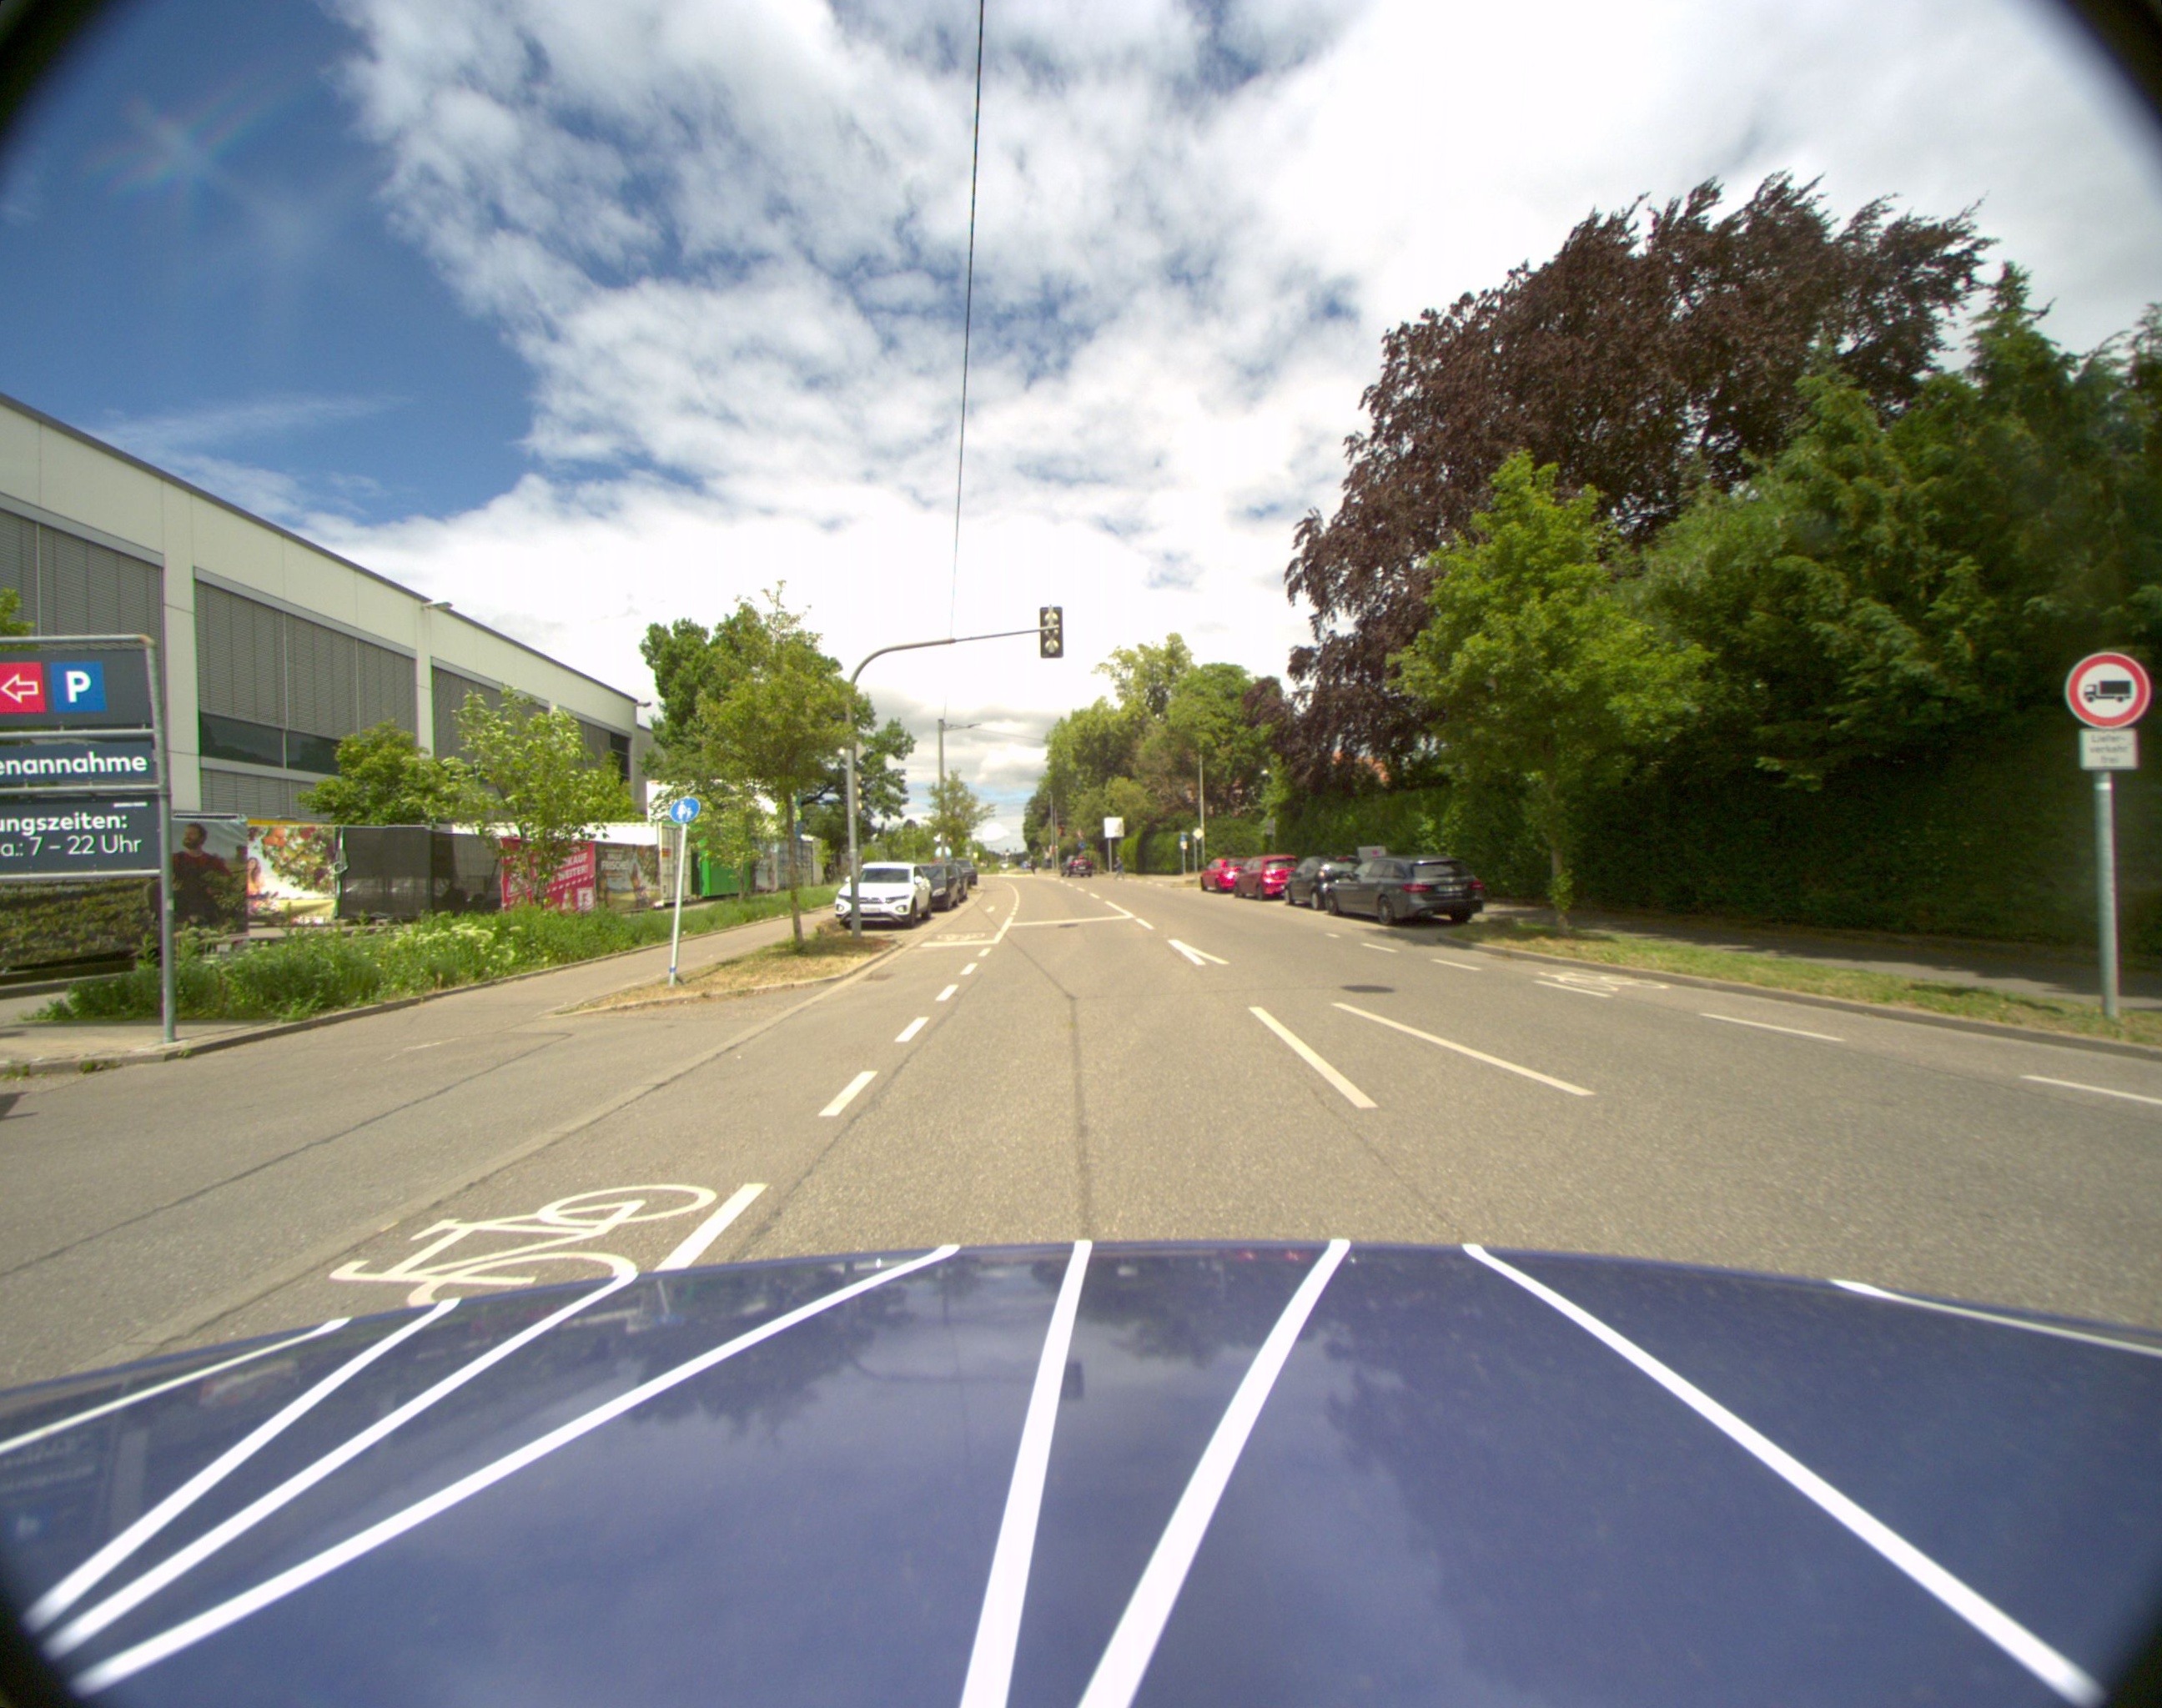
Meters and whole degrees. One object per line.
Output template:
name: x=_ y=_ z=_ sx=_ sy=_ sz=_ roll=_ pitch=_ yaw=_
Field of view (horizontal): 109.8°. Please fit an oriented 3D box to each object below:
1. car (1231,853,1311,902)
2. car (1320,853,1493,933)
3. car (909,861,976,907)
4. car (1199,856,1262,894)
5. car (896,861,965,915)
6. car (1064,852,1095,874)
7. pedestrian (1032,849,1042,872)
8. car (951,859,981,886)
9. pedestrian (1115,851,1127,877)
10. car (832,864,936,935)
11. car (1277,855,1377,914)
car: x=6.407 y=0.753 z=25.974 sx=1.523 sy=1.469 sz=3.322 roll=-3 pitch=0 yaw=-7
car: x=6.998 y=0.755 z=16.905 sx=1.687 sy=1.407 sz=4.400 roll=-3 pitch=1 yaw=-4
car: x=-5.259 y=1.087 z=29.374 sx=1.999 sy=1.519 sz=3.809 roll=-3 pitch=0 yaw=-3
car: x=6.058 y=0.802 z=31.168 sx=1.530 sy=1.358 sz=3.373 roll=-3 pitch=1 yaw=-7
car: x=-4.817 y=1.047 z=24.734 sx=1.602 sy=1.552 sz=3.790 roll=1 pitch=0 yaw=-2
car: x=-0.168 y=0.667 z=58.847 sx=1.851 sy=1.546 sz=3.947 roll=-3 pitch=0 yaw=-8
pedestrian: x=-3.963 y=0.599 z=68.308 sx=0.699 sy=2.002 sz=0.724 roll=-3 pitch=1 yaw=6
car: x=-7.192 y=1.106 z=47.557 sx=1.706 sy=1.522 sz=3.997 roll=-3 pitch=0 yaw=-9
pedestrian: x=2.589 y=0.665 z=49.103 sx=0.554 sy=1.663 sz=0.587 roll=-3 pitch=1 yaw=-19
car: x=-4.813 y=1.055 z=19.108 sx=1.795 sy=1.522 sz=3.919 roll=0 pitch=0 yaw=-3
car: x=6.820 y=0.791 z=21.405 sx=1.559 sy=1.404 sz=3.192 roll=-3 pitch=1 yaw=-4
